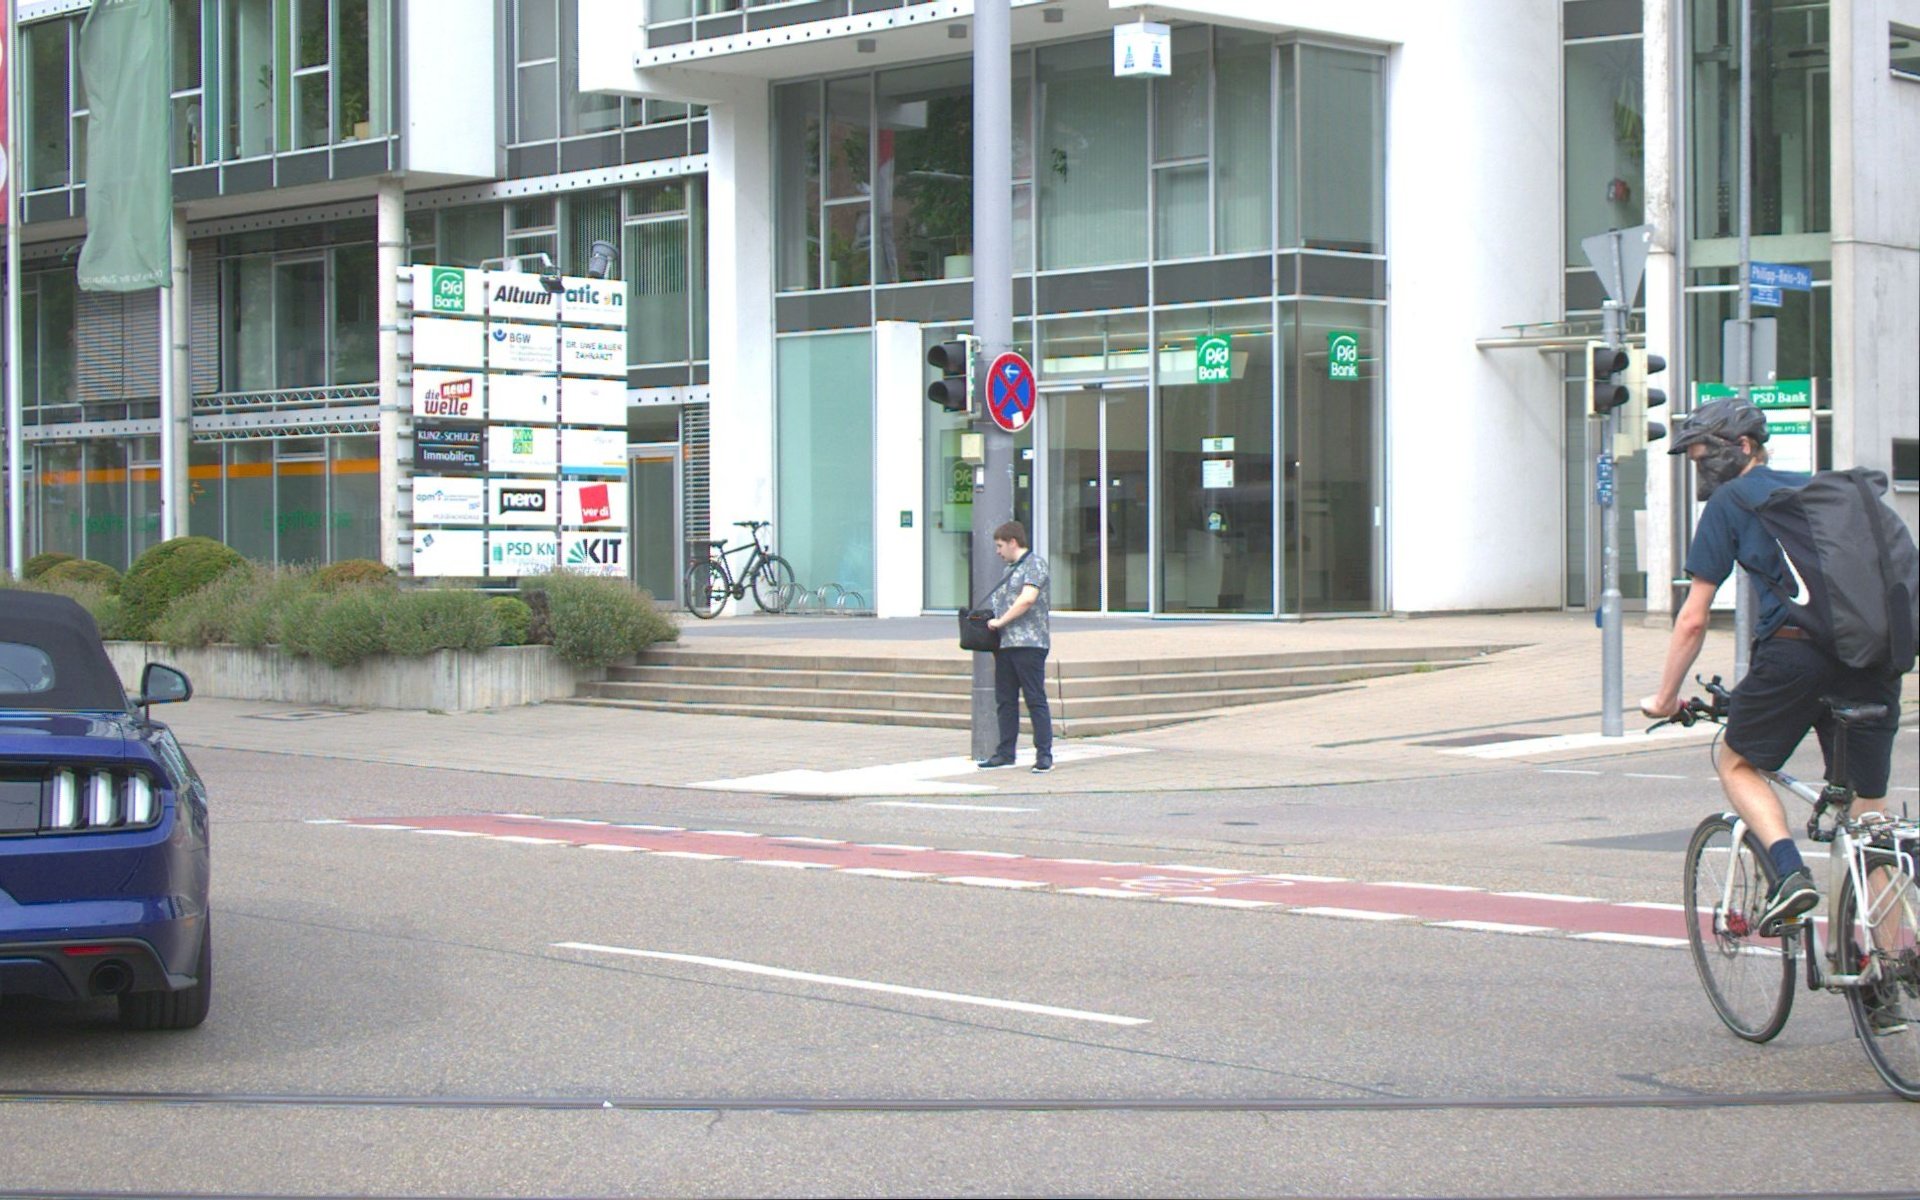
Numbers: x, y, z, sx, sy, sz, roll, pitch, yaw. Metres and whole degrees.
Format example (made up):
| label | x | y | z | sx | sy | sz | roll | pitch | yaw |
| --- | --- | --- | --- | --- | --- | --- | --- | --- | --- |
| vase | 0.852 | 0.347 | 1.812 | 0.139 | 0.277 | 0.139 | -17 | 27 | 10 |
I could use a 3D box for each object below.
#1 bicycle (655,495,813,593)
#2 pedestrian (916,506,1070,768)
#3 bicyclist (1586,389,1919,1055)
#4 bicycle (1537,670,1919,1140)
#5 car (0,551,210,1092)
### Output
| label | x | y | z | sx | sy | sz | roll | pitch | yaw |
| --- | --- | --- | --- | --- | --- | --- | --- | --- | --- |
| bicycle | -2.776 | -0.698 | 42.439 | 0.586 | 1.173 | 2.109 | 3 | 3 | 42 |
| pedestrian | 0.238 | 0.251 | 25.030 | 0.763 | 1.858 | 0.836 | -2 | 2 | -37 |
| bicyclist | 2.387 | 0.305 | 9.844 | 0.796 | 1.779 | 1.233 | -1 | 2 | -9 |
| bicycle | 2.388 | 0.799 | 9.857 | 0.800 | 1.082 | 2.132 | -1 | 2 | -9 |
| car | -3.547 | 0.589 | 11.459 | 1.875 | 1.399 | 4.284 | 0 | 2 | -14 |
